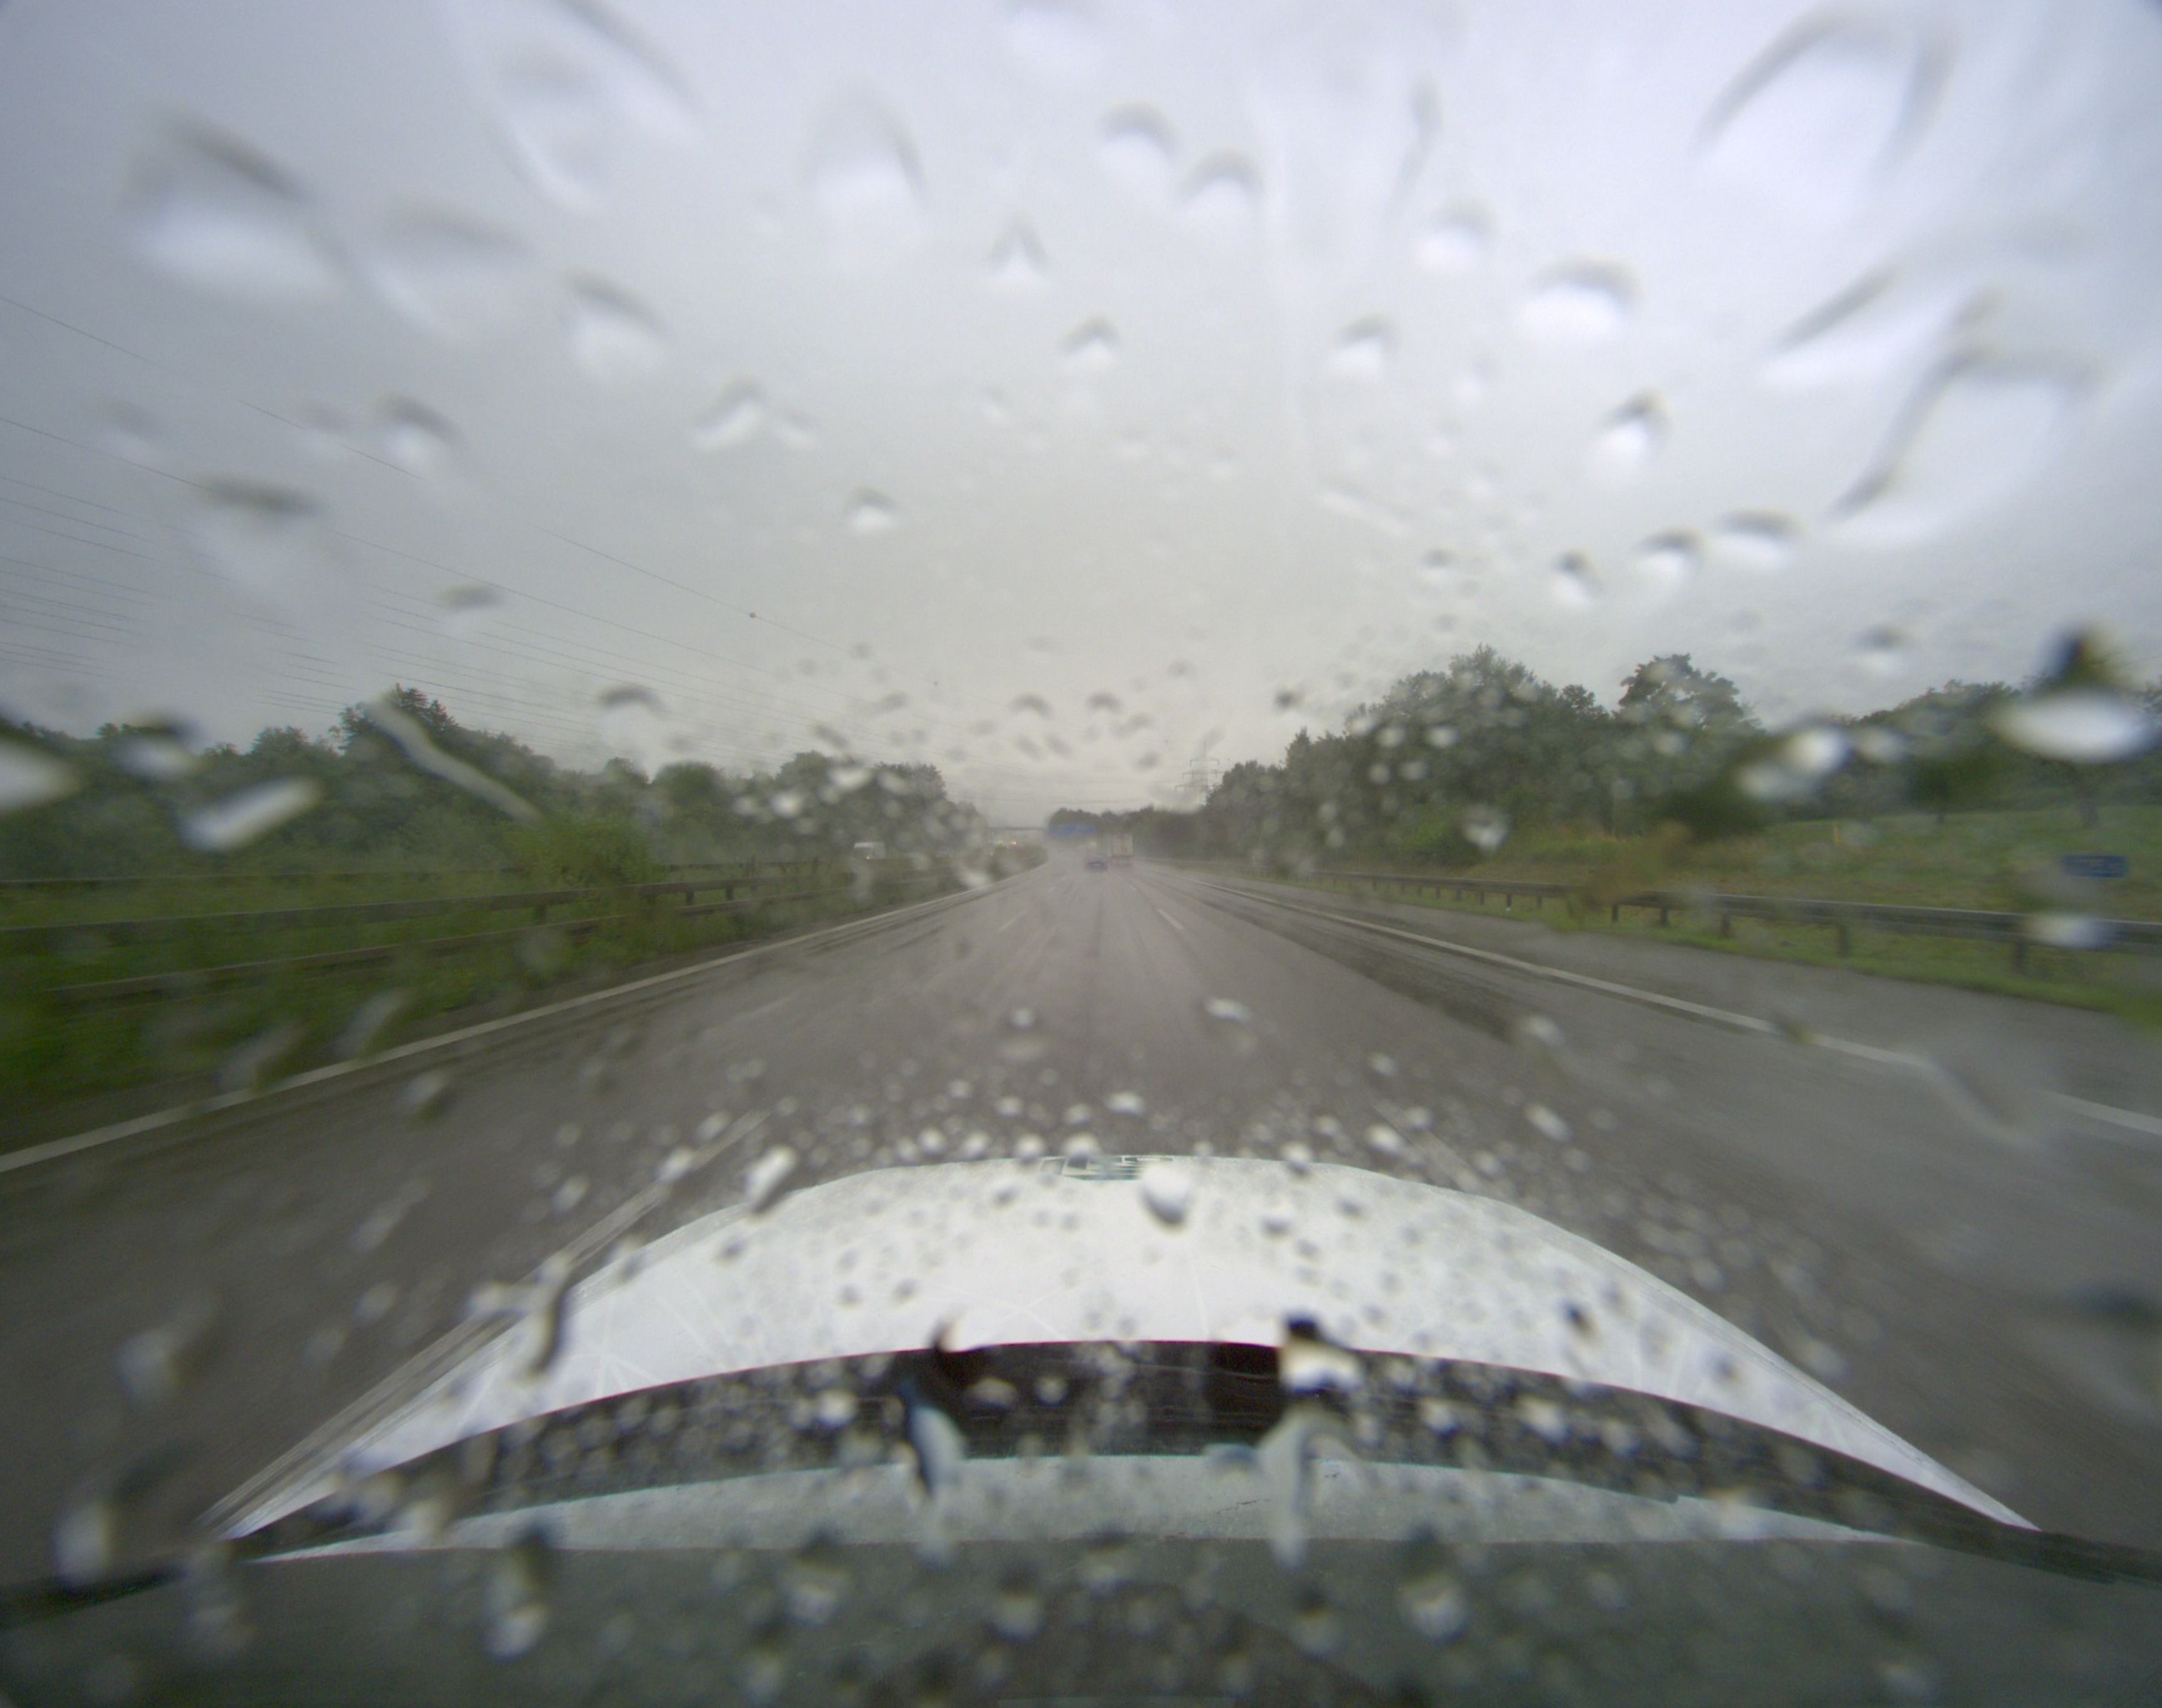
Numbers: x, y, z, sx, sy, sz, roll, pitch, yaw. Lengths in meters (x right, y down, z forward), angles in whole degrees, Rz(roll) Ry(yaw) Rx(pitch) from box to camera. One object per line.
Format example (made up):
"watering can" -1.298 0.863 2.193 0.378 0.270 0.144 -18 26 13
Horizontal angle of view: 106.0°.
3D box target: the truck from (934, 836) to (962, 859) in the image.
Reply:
"truck" -20.501 -1.024 125.948 3.058 3.276 7.391 3 0 0

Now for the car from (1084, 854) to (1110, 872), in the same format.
"car" 1.238 0.676 62.642 1.741 1.212 4.004 2 0 4

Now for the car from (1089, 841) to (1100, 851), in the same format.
"car" 3.051 -1.938 188.255 2.385 2.272 5.002 1 1 0

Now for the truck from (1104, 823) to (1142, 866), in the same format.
"truck" 5.219 -1.148 103.445 4.240 4.972 17.351 -2 0 2
